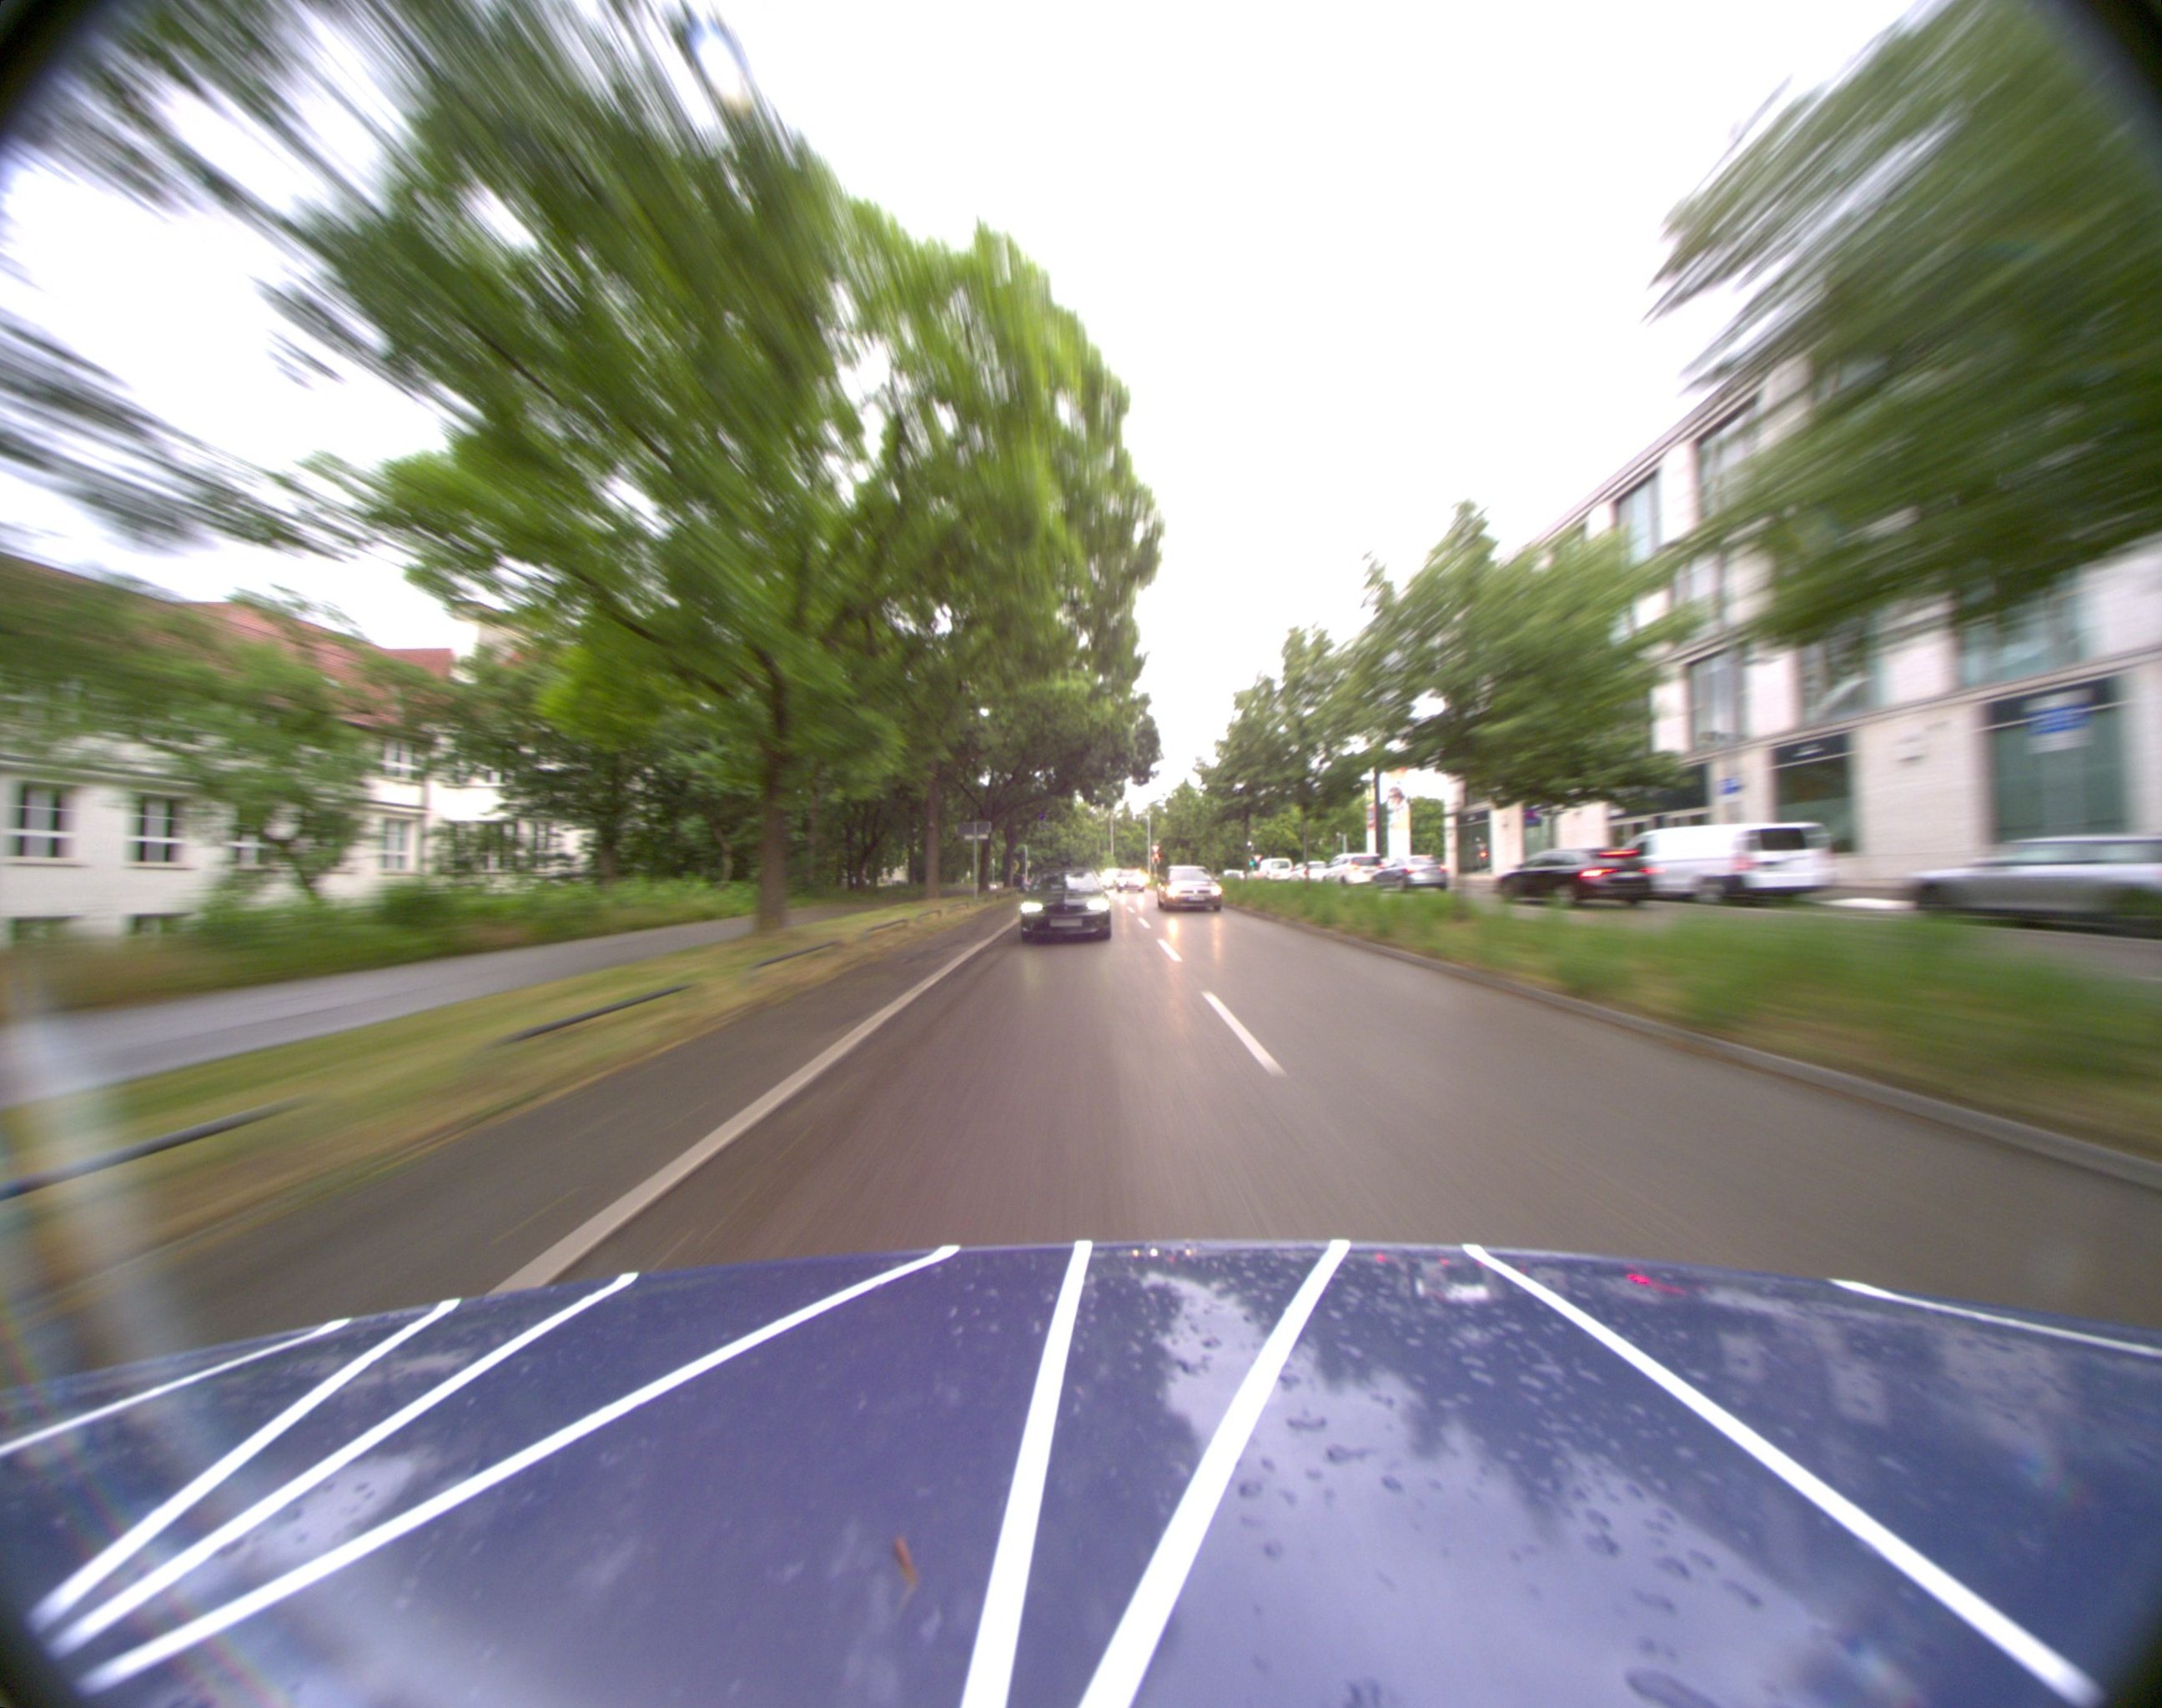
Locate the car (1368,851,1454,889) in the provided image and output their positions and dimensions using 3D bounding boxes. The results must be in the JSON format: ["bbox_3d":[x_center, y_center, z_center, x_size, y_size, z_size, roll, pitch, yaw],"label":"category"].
[{"bbox_3d":[12.794,0.640,29.706,1.645,1.402,3.998,0,-2,1],"label":"car"}]

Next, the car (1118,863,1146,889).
[{"bbox_3d":[3.334,1.442,49.152,1.669,1.520,3.660,-2,-2,5],"label":"car"}]

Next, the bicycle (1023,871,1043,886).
[{"bbox_3d":[-3.760,1.914,59.334,1.490,1.124,0.556,2,-1,-6],"label":"bicycle"}]

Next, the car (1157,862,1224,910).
[{"bbox_3d":[3.542,1.057,25.145,1.904,1.430,4.003,-1,-2,4],"label":"car"}]

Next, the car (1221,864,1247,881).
[{"bbox_3d":[13.560,1.689,67.681,1.718,1.451,3.753,0,-3,3],"label":"car"}]

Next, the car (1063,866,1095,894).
[{"bbox_3d":[-0.160,1.554,45.131,1.645,1.511,3.579,-1,-2,-4],"label":"car"}]

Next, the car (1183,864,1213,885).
[{"bbox_3d":[10.027,1.804,65.509,1.853,1.565,4.167,-2,-3,0],"label":"car"}]

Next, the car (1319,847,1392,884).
[{"bbox_3d":[12.792,0.547,35.734,1.833,1.591,4.675,-1,-1,1],"label":"car"}]

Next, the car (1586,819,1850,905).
[{"bbox_3d":[15.385,0.199,18.895,2.127,1.805,5.260,-1,0,0],"label":"car"}]

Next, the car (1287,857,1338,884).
[{"bbox_3d":[13.062,0.917,43.105,1.748,1.459,4.061,0,-1,1],"label":"car"}]

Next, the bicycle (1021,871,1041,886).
[{"bbox_3d":[-3.976,1.971,60.292,1.490,1.124,0.556,2,-1,-6],"label":"bicycle"}]

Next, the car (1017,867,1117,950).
[{"bbox_3d":[-0.280,1.061,16.465,1.804,1.422,4.520,-3,0,-1],"label":"car"}]

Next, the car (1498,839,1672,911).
[{"bbox_3d":[12.446,0.470,19.099,1.699,1.572,4.017,-2,0,1],"label":"car"}]

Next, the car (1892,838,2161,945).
[{"bbox_3d":[15.079,0.478,11.473,1.699,1.376,3.698,-2,0,0],"label":"car"}]

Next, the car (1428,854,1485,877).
[{"bbox_3d":[24.344,0.746,49.280,3.301,1.368,1.565,0,-2,-25],"label":"car"}]

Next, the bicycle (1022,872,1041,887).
[{"bbox_3d":[-4.010,2.042,61.445,1.490,1.124,0.556,2,-1,-6],"label":"bicycle"}]

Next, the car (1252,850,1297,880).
[{"bbox_3d":[13.169,0.786,51.916,1.848,1.790,4.776,-2,-3,1],"label":"car"}]
